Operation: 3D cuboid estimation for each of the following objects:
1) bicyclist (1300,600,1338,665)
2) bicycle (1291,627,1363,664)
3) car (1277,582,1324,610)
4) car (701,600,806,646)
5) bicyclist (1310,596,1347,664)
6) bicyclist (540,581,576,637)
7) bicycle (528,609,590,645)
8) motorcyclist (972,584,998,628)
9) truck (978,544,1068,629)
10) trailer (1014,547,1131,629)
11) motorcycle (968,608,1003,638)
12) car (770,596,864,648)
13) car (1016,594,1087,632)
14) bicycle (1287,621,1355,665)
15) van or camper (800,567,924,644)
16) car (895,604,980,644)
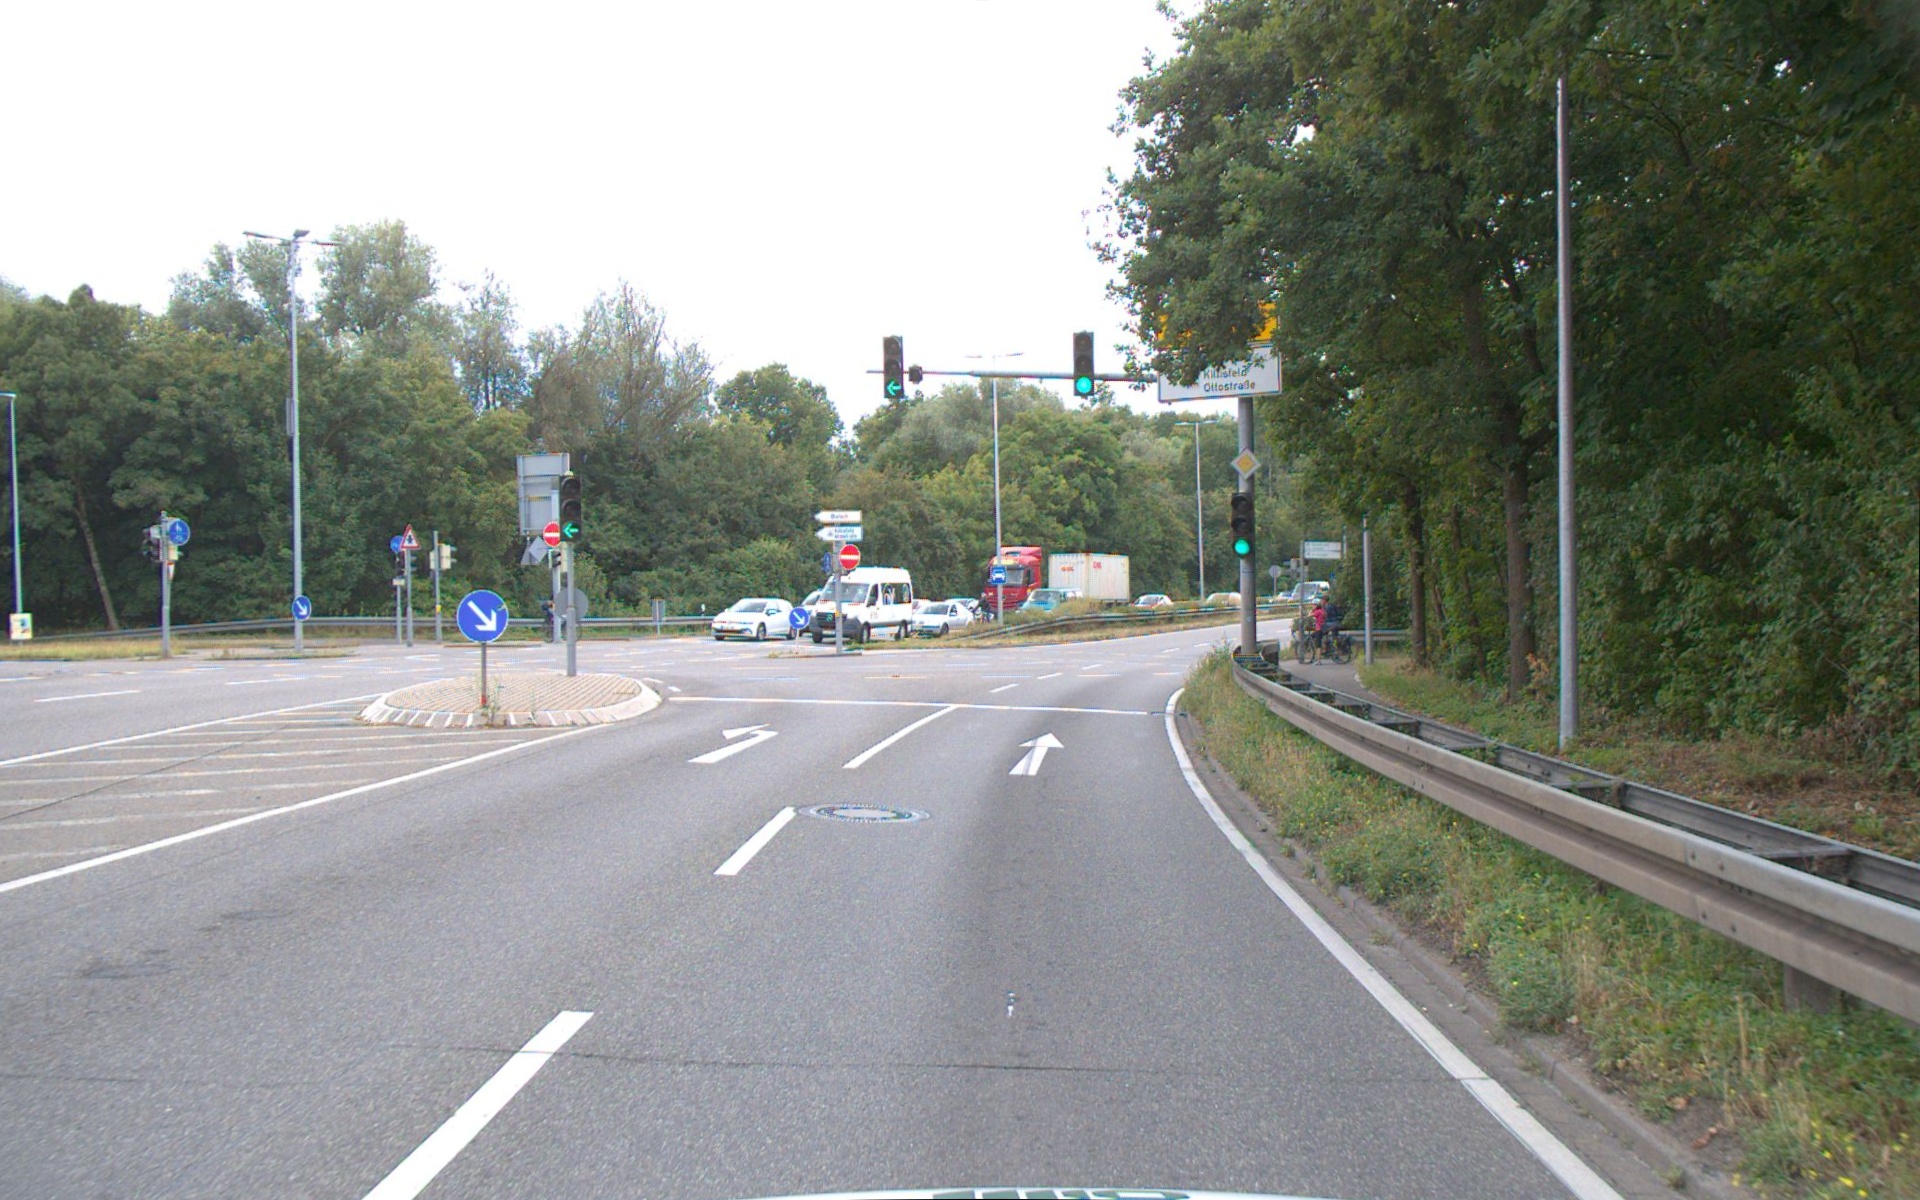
[{"bbox_3d":[9.889,0.898,45.547,0.835,1.762,0.636,-1,-1,29],"label":"bicyclist"},{"bbox_3d":[10.385,1.280,46.828,1.929,0.957,0.662,-2,-1,13],"label":"bicycle"},{"bbox_3d":[23.836,-0.270,115.704,1.970,1.896,5.272,0,0,26],"label":"car"},{"bbox_3d":[-7.281,0.779,58.666,1.952,1.574,4.541,0,0,18],"label":"car"},{"bbox_3d":[10.433,0.837,46.840,0.928,1.876,0.665,-2,-1,12],"label":"bicyclist"},{"bbox_3d":[-12.807,0.294,52.699,0.728,1.765,0.800,-2,-1,27],"label":"bicyclist"},{"bbox_3d":[-12.760,0.861,52.651,1.900,1.071,0.707,-3,-2,26],"label":"bicycle"},{"bbox_3d":[1.059,0.240,69.848,0.847,1.855,0.925,0,0,20],"label":"motorcyclist"},{"bbox_3d":[3.254,-0.644,84.168,2.518,4.155,5.617,0,0,27],"label":"truck"},{"bbox_3d":[6.285,-0.581,90.303,2.485,4.220,10.761,0,0,26],"label":"trailer"},{"bbox_3d":[1.073,0.954,69.789,0.782,1.246,2.327,0,0,20],"label":"motorcycle"},{"bbox_3d":[-5.485,0.839,63.841,1.953,1.935,4.166,0,0,22],"label":"car"},{"bbox_3d":[4.438,0.632,79.294,1.768,1.759,4.958,0,0,24],"label":"car"},{"bbox_3d":[9.937,1.184,45.518,1.709,1.158,0.629,-2,-1,29],"label":"bicycle"},{"bbox_3d":[-3.444,0.189,59.704,2.115,2.634,6.497,0,0,19],"label":"van or camper"},{"bbox_3d":[-0.850,0.926,66.119,1.952,1.524,4.400,0,0,21],"label":"car"}]
